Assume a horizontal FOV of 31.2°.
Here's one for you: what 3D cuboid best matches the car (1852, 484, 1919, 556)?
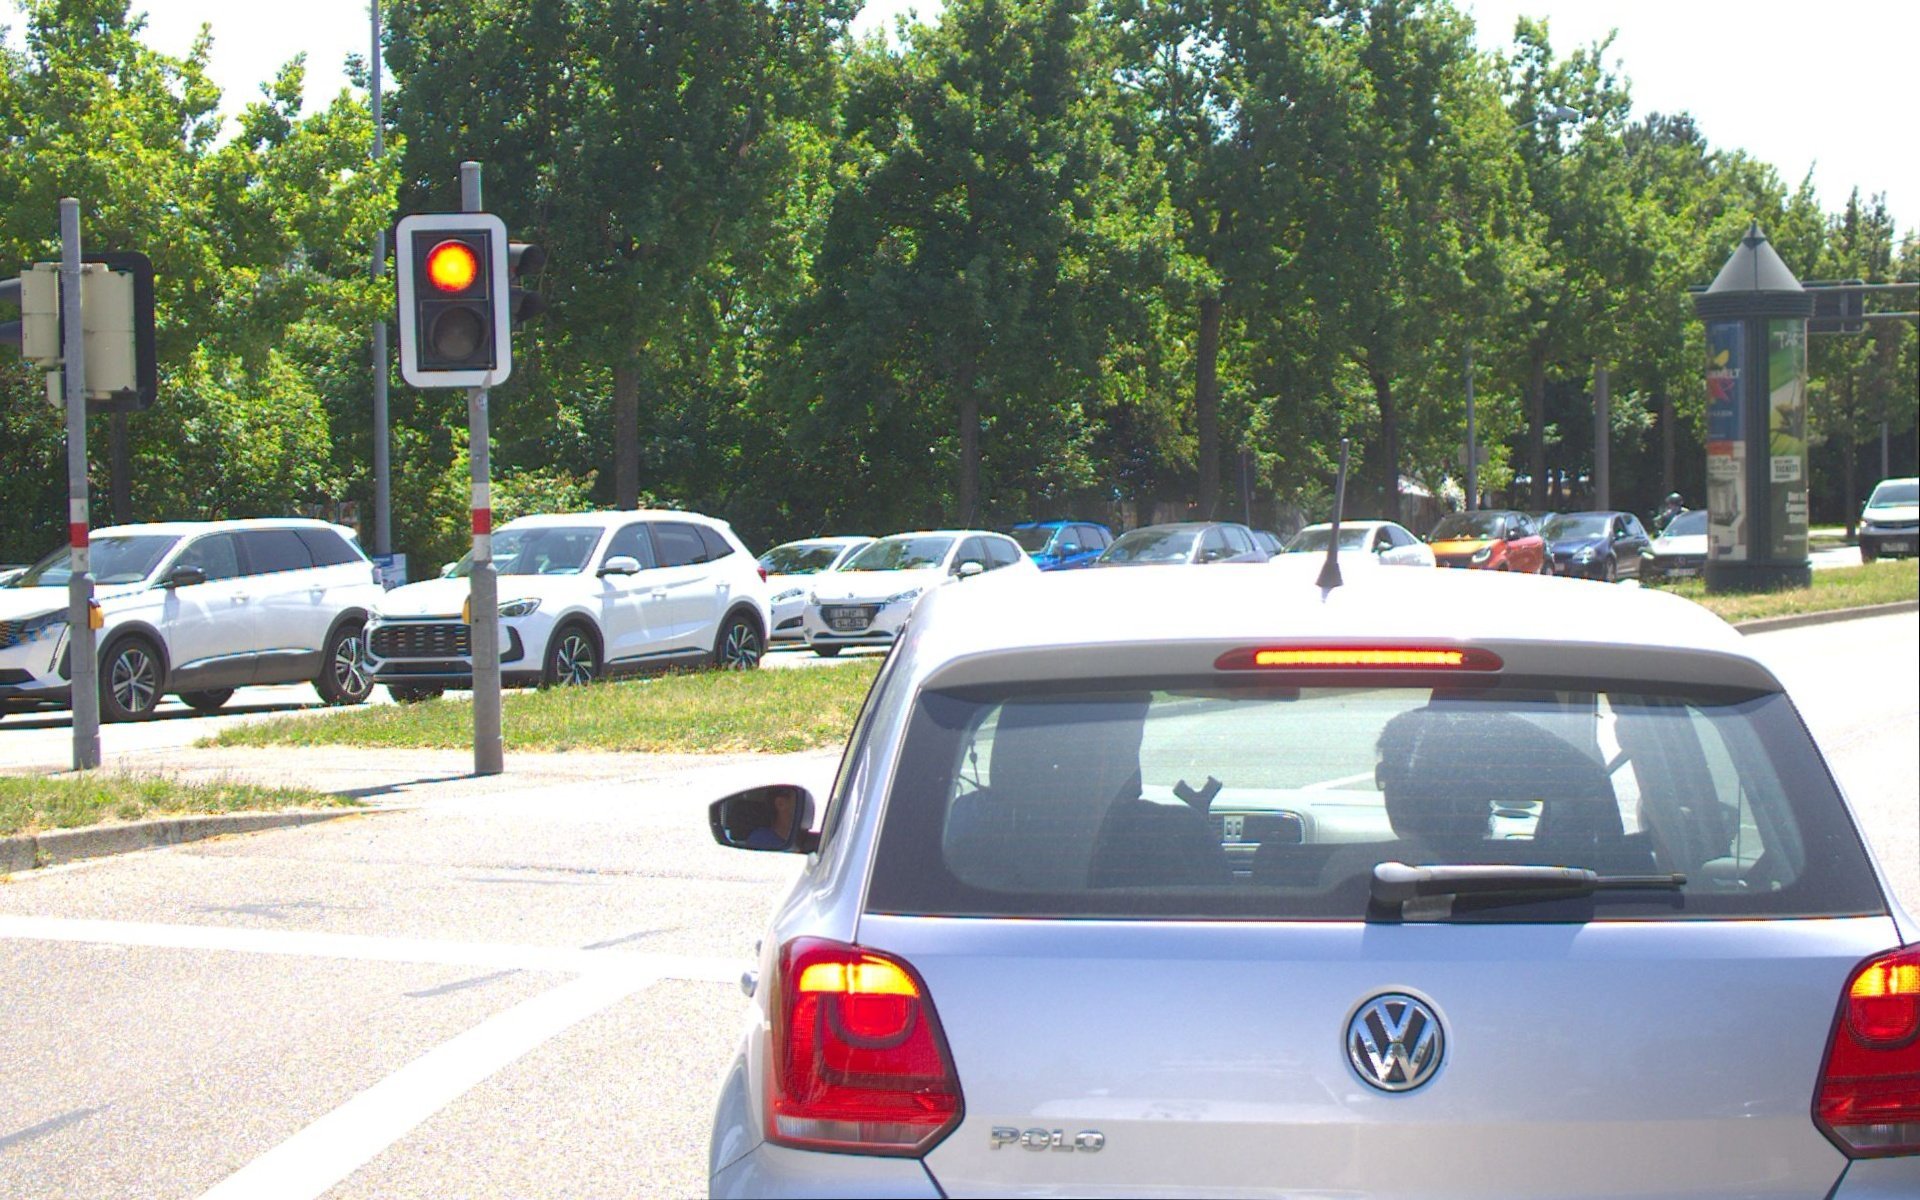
[{"bbox_3d":[21.020,-1.775,75.672,1.865,1.549,3.994,0,2,27],"label":"car"}]

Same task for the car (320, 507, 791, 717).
[{"bbox_3d":[-3.417,0.041,29.908,1.861,1.677,4.401,0,2,29],"label":"car"}]

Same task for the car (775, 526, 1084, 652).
[{"bbox_3d":[-0.301,-0.170,42.004,1.861,1.417,4.401,0,2,29],"label":"car"}]

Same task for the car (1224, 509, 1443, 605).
[{"bbox_3d":[5.888,-0.698,53.750,1.861,1.417,4.401,0,2,29],"label":"car"}]

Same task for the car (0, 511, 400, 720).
[{"bbox_3d":[-6.847,0.066,29.031,1.861,1.612,4.401,0,2,29],"label":"car"}]

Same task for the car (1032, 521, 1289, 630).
[{"bbox_3d":[2.847,-0.370,47.776,1.861,1.417,4.401,0,2,29],"label":"car"}]

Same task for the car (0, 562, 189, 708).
[{"bbox_3d":[-9.291,0.320,31.577,1.861,1.266,4.401,0,2,29],"label":"car"}]

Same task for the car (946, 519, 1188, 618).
[{"bbox_3d":[1.671,-0.504,52.041,1.861,1.417,4.401,0,2,29],"label":"car"}]

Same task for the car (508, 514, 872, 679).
[{"bbox_3d":[-2.881,-0.087,37.647,1.861,1.677,4.401,0,2,29],"label":"car"}]

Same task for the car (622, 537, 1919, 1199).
[{"bbox_3d":[0.528,0.633,5.704,1.776,1.417,4.000,0,2,0],"label":"car"}]

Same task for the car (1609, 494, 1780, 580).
[{"bbox_3d":[13.138,-1.142,61.321,1.973,1.483,3.994,0,2,28],"label":"car"}]

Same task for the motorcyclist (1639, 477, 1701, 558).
[{"bbox_3d":[14.319,-1.660,69.320,0.907,1.581,1.008,-1,0,30],"label":"motorcyclist"}]

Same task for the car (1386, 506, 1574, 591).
[{"bbox_3d":[9.113,-0.916,59.978,1.861,1.417,4.401,0,2,29],"label":"car"}]

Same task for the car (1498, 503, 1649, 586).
[{"bbox_3d":[11.484,-1.040,64.191,1.718,1.470,3.791,-1,0,27],"label":"car"}]

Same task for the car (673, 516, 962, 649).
[{"bbox_3d":[-1.849,-0.276,46.113,1.861,1.677,4.401,0,2,29],"label":"car"}]
